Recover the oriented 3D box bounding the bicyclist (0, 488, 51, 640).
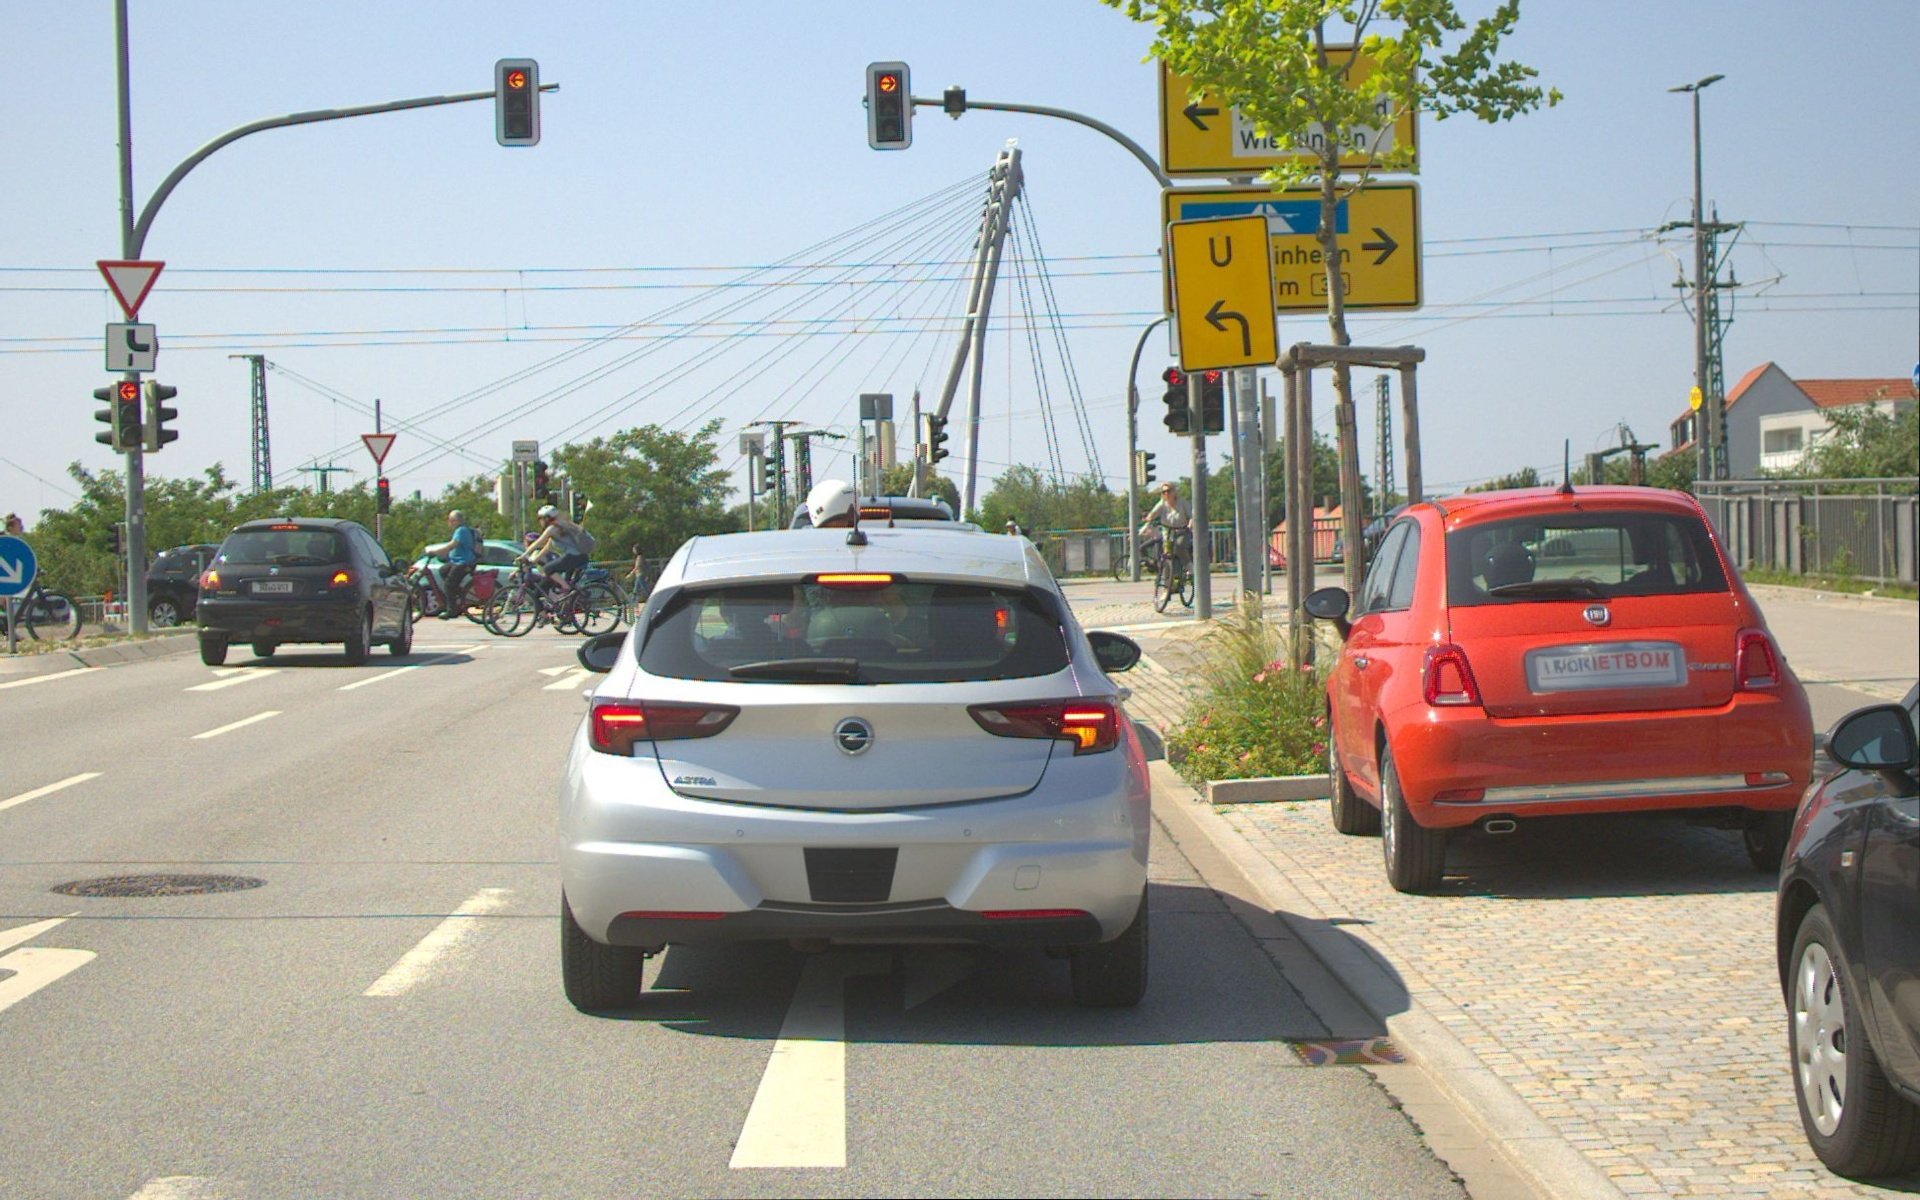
[{"bbox_3d":[-11.753,-0.453,43.057,0.594,1.881,0.637,1,0,-5],"label":"bicyclist"}]

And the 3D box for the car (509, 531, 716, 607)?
[{"bbox_3d":[-6.813,-0.616,67.619,3.791,1.357,1.532,-1,2,6],"label":"car"}]

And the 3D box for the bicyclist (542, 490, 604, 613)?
[{"bbox_3d":[-4.810,-0.602,42.765,0.657,1.497,0.844,1,0,1],"label":"bicyclist"}]

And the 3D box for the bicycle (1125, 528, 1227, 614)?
[{"bbox_3d":[2.904,-0.387,46.001,0.676,1.123,2.363,1,1,21],"label":"bicycle"}]

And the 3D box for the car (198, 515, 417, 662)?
[{"bbox_3d":[-6.506,-0.131,34.544,1.587,1.390,3.340,-1,1,-1],"label":"car"}]

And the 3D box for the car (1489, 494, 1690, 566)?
[{"bbox_3d":[14.930,-1.654,81.643,4.244,1.668,2.001,0,1,-17],"label":"car"}]

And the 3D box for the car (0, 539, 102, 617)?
[{"bbox_3d":[-19.921,-0.427,70.841,3.975,1.546,1.675,-1,0,7],"label":"car"}]

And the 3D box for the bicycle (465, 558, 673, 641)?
[{"bbox_3d":[-4.856,-0.011,42.786,2.504,1.003,0.605,0,1,1],"label":"bicycle"}]

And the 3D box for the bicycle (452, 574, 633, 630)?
[{"bbox_3d":[-5.309,0.022,43.767,2.246,0.690,0.516,0,1,1],"label":"bicycle"}]

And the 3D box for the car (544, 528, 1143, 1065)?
[{"bbox_3d":[-0.355,0.513,11.873,1.690,1.514,4.271,0,1,-1],"label":"car"}]

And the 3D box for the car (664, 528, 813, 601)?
[{"bbox_3d":[-5.148,-0.830,80.157,3.380,1.650,1.648,1,1,-1],"label":"car"}]

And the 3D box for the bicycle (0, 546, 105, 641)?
[{"bbox_3d":[-11.815,-0.089,43.058,2.080,1.174,0.555,1,0,-4],"label":"bicycle"}]

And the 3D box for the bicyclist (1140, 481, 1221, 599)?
[{"bbox_3d":[2.965,-0.807,46.150,0.821,1.563,0.947,1,0,20],"label":"bicyclist"}]

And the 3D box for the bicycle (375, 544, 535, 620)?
[{"bbox_3d":[-7.626,-0.271,51.994,2.319,1.129,0.637,0,1,1],"label":"bicycle"}]

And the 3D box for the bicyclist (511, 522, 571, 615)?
[{"bbox_3d":[-5.329,-0.400,43.770,0.657,1.171,0.731,1,0,1],"label":"bicyclist"}]

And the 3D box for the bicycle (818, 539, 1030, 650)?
[{"bbox_3d":[-0.438,-0.068,42.854,2.524,1.130,0.728,-5,3,3],"label":"bicycle"}]

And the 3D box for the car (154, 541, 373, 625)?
[{"bbox_3d":[-13.315,-0.342,65.837,3.748,1.578,1.813,0,1,5],"label":"car"}]

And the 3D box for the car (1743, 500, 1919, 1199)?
[{"bbox_3d":[2.645,0.575,6.103,1.581,1.550,3.547,-3,2,-1],"label":"car"}]

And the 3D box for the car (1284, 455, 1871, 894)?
[{"bbox_3d":[2.446,0.250,14.542,1.669,1.534,3.917,-3,1,-1],"label":"car"}]

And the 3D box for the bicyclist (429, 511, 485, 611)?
[{"bbox_3d":[-7.608,-0.591,52.016,0.718,1.499,0.824,0,0,0],"label":"bicyclist"}]

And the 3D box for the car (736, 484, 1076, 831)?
[{"bbox_3d":[-0.291,0.260,18.650,1.634,1.668,3.745,1,1,-1],"label":"car"}]
